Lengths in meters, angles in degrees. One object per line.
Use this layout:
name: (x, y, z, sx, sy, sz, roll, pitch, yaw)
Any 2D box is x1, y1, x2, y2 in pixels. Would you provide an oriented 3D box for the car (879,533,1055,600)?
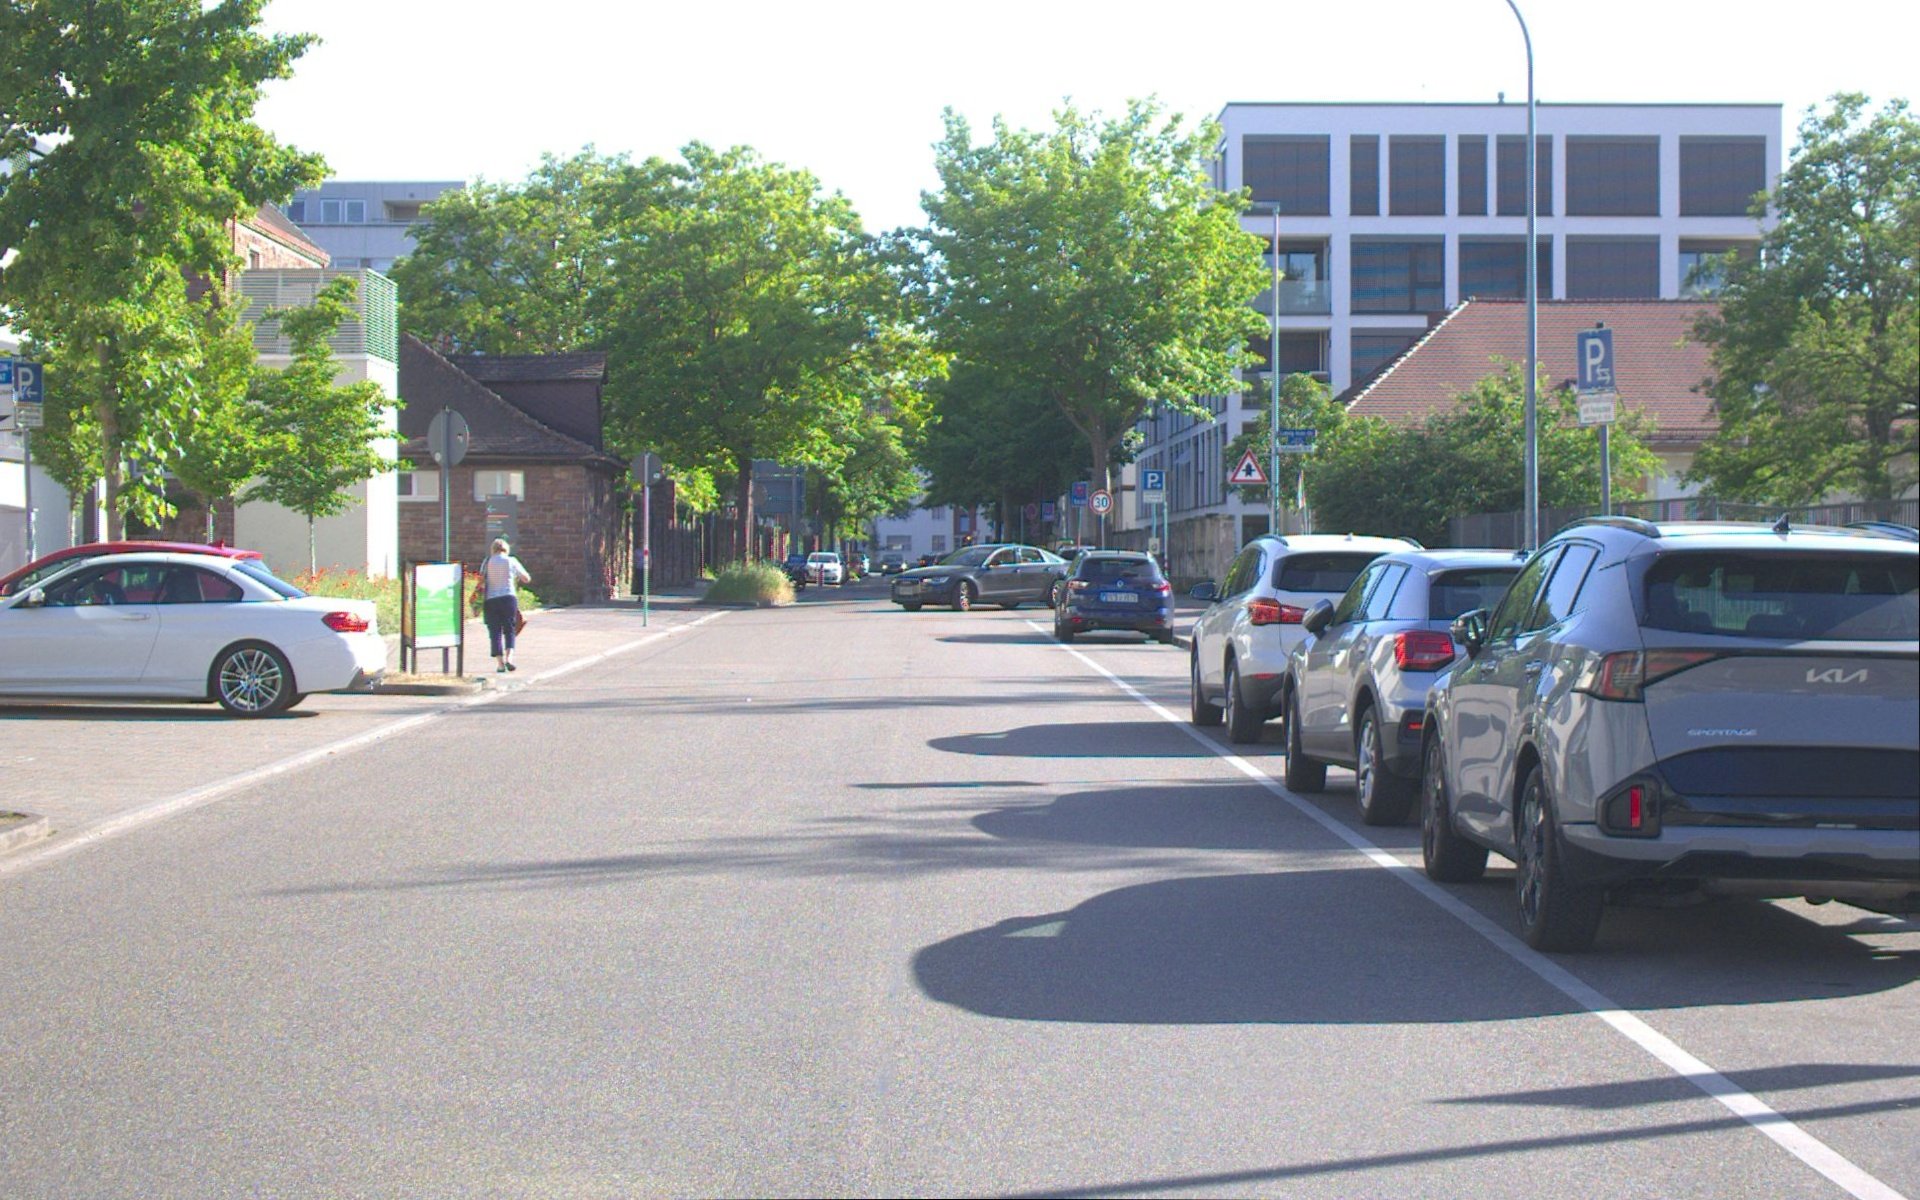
car: (0.195, -0.767, 76.325, 1.765, 1.437, 4.529, 0, 1, 32)

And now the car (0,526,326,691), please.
car: (-8.051, 0.061, 33.105, 3.634, 1.464, 1.614, 1, 1, -4)

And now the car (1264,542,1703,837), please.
car: (2.923, 0.437, 20.020, 1.700, 1.482, 3.981, 2, 1, -3)

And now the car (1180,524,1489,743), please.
car: (2.927, 0.205, 27.733, 1.813, 1.583, 4.263, 2, 1, -2)

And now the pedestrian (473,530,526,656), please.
pedestrian: (-5.566, -0.090, 41.580, 0.538, 1.518, 0.607, 0, 1, 1)

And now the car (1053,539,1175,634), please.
car: (2.448, -0.246, 55.498, 1.818, 1.448, 4.214, 0, 1, 0)

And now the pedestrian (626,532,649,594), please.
pedestrian: (-8.228, -0.952, 87.736, 0.521, 1.557, 1.096, 0, 1, -1)

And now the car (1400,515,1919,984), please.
car: (2.976, 0.483, 14.159, 1.700, 1.601, 4.353, 2, 1, 0)

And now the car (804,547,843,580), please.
car: (-6.185, -1.684, 156.253, 1.767, 1.482, 4.000, 0, 1, -2)

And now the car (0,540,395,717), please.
car: (-7.334, 0.213, 30.206, 4.511, 1.362, 1.700, 2, 1, -5)

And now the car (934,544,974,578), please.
car: (-0.288, -1.829, 160.998, 1.767, 1.543, 4.066, 0, 1, -2)
